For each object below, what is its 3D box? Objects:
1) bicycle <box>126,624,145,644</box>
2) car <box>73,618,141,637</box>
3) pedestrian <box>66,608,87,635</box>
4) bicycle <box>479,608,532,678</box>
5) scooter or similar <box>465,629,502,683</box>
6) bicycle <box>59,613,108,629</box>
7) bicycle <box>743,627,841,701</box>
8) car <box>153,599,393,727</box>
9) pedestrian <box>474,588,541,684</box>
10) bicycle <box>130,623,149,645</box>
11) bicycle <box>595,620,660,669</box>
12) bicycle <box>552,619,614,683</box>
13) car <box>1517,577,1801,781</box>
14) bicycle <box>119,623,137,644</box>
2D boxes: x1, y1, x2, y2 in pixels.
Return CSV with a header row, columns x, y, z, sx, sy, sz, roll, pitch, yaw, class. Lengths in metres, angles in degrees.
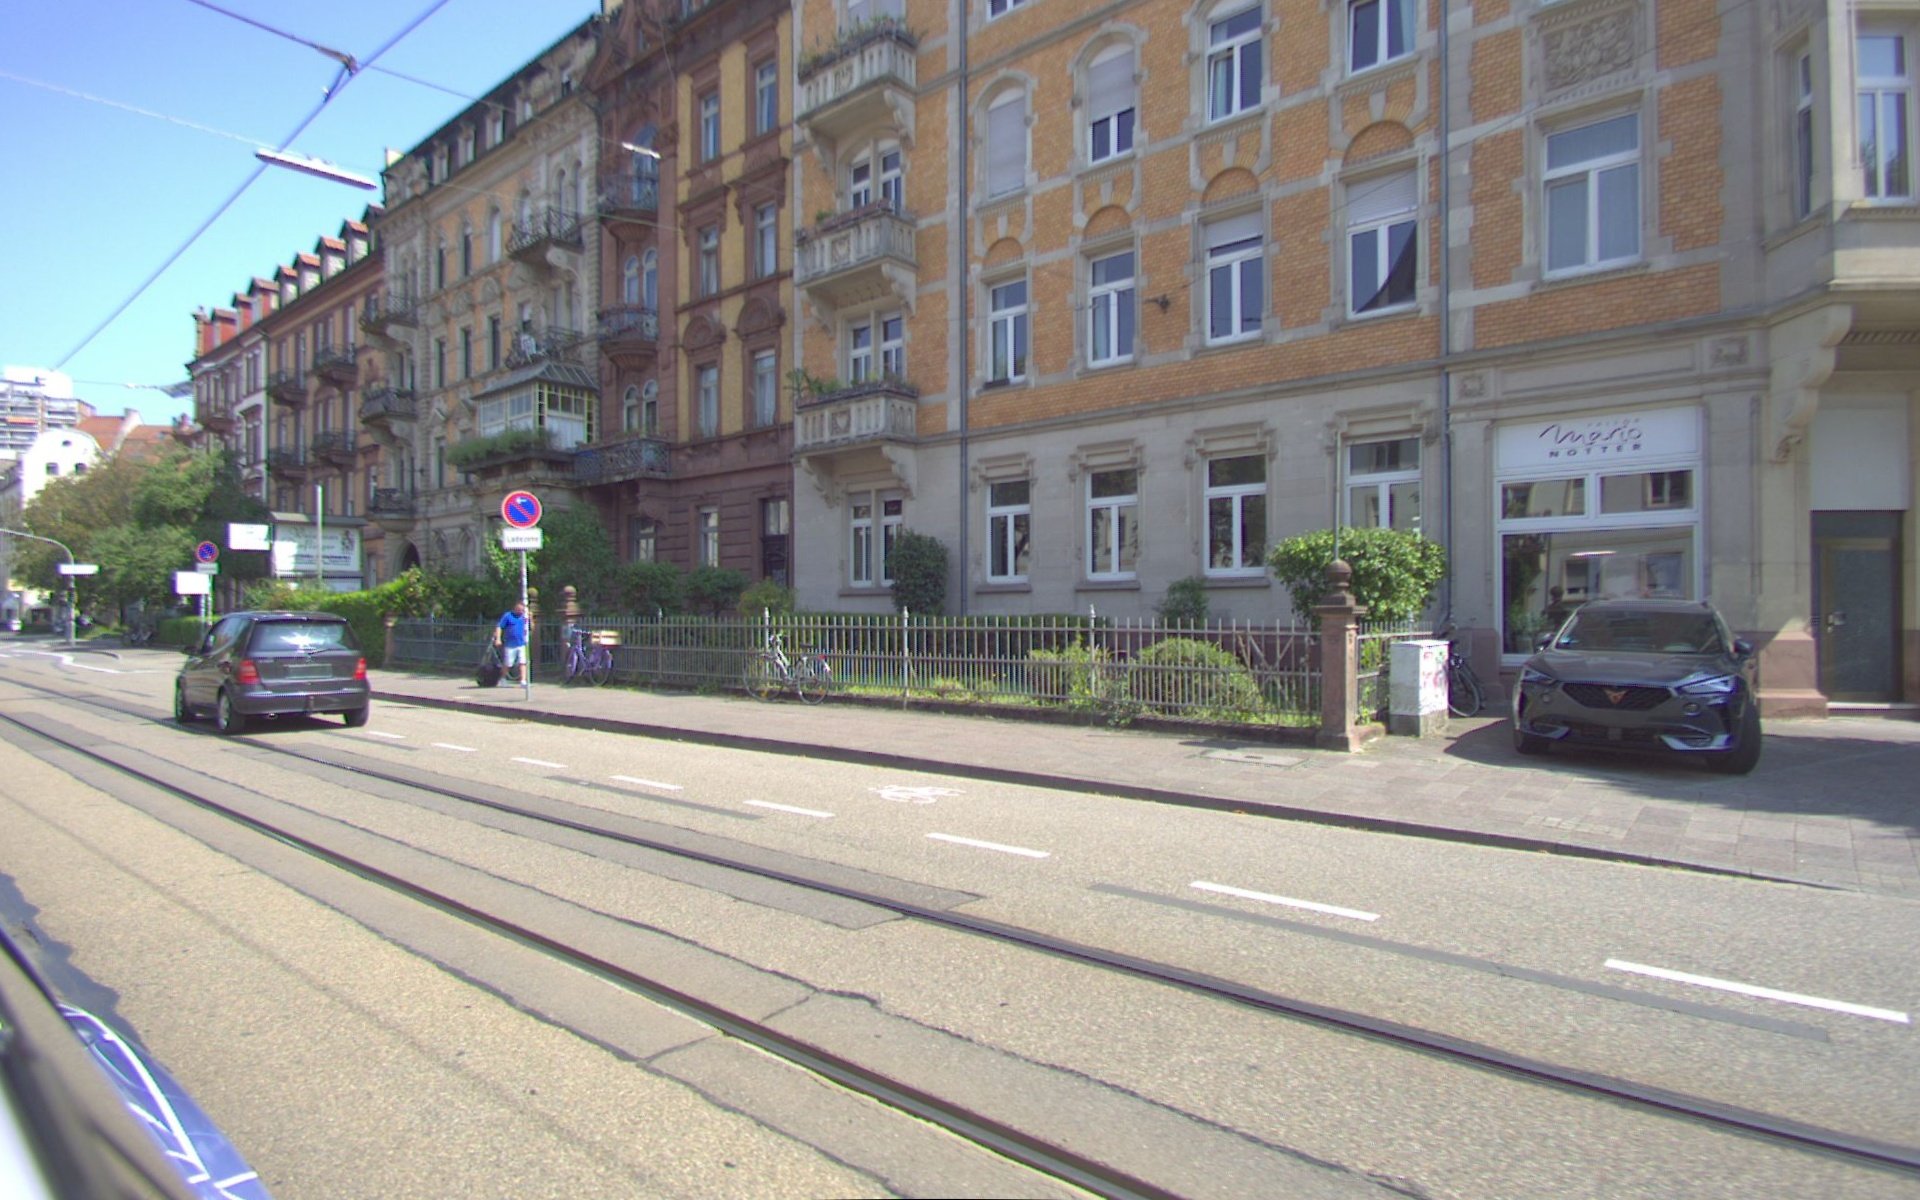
x,y,z,sx,sy,sz,roll,pitch,yaw,class
-39.303,1.609,48.223,1.657,0.949,0.482,-1,-1,43,bicycle
-80.392,2.605,95.469,4.559,1.739,2.003,1,-2,-6,car
-67.723,1.654,77.589,1.035,2.029,1.080,0,0,40,pedestrian
-9.505,0.882,21.137,1.581,1.416,0.386,-1,-1,41,bicycle
-9.116,1.068,19.369,0.583,0.990,0.397,0,0,32,scooter or similar
-80.647,1.962,93.116,3.437,1.447,1.222,0,-1,1,bicycle
-2.551,0.934,15.223,1.832,1.046,0.386,-1,-1,41,bicycle
-9.773,0.818,14.287,3.997,1.552,1.808,-1,-2,41,car
-8.603,0.672,19.241,0.869,1.769,0.874,-1,-1,40,pedestrian
-38.062,1.554,46.953,1.657,0.994,0.482,-1,-1,43,bicycle
-7.390,0.978,22.540,0.391,1.040,1.386,-1,-1,38,bicycle
-7.085,0.934,18.973,1.581,1.156,0.386,-1,-1,41,bicycle
7.132,0.625,10.142,1.878,1.606,4.058,-1,0,41,car
-41.335,1.666,50.285,1.778,1.029,0.482,-1,-1,43,bicycle
